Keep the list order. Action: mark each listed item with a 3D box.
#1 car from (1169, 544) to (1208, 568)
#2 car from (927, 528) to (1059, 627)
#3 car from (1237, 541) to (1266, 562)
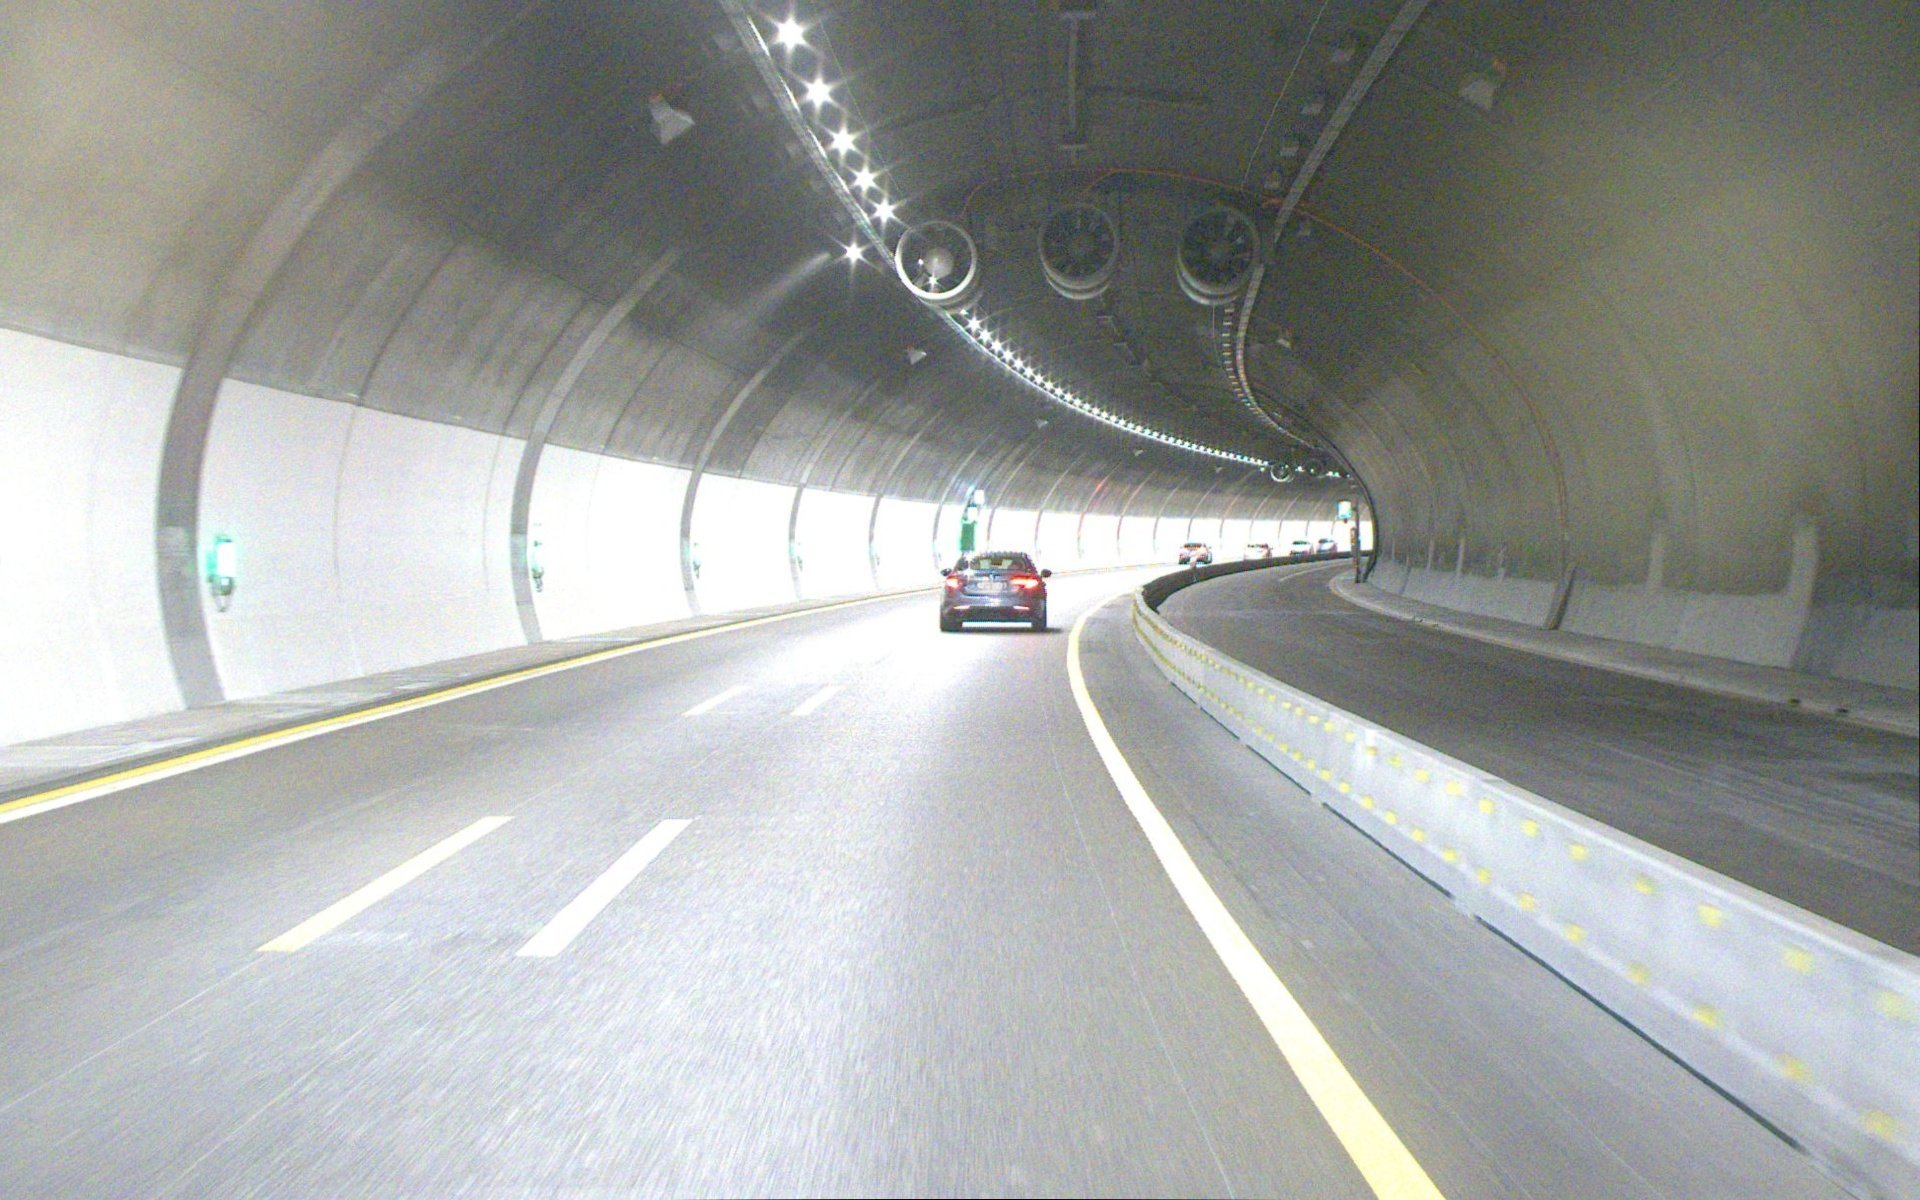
[{"bbox_3d":[14.988,-2.900,225.266,2.166,1.481,3.999,1,1,9],"label":"car"},{"bbox_3d":[0.623,-0.429,61.435,2.141,1.700,4.000,1,1,3],"label":"car"},{"bbox_3d":[19.531,-3.242,229.995,1.596,1.328,3.749,1,1,10],"label":"car"}]
